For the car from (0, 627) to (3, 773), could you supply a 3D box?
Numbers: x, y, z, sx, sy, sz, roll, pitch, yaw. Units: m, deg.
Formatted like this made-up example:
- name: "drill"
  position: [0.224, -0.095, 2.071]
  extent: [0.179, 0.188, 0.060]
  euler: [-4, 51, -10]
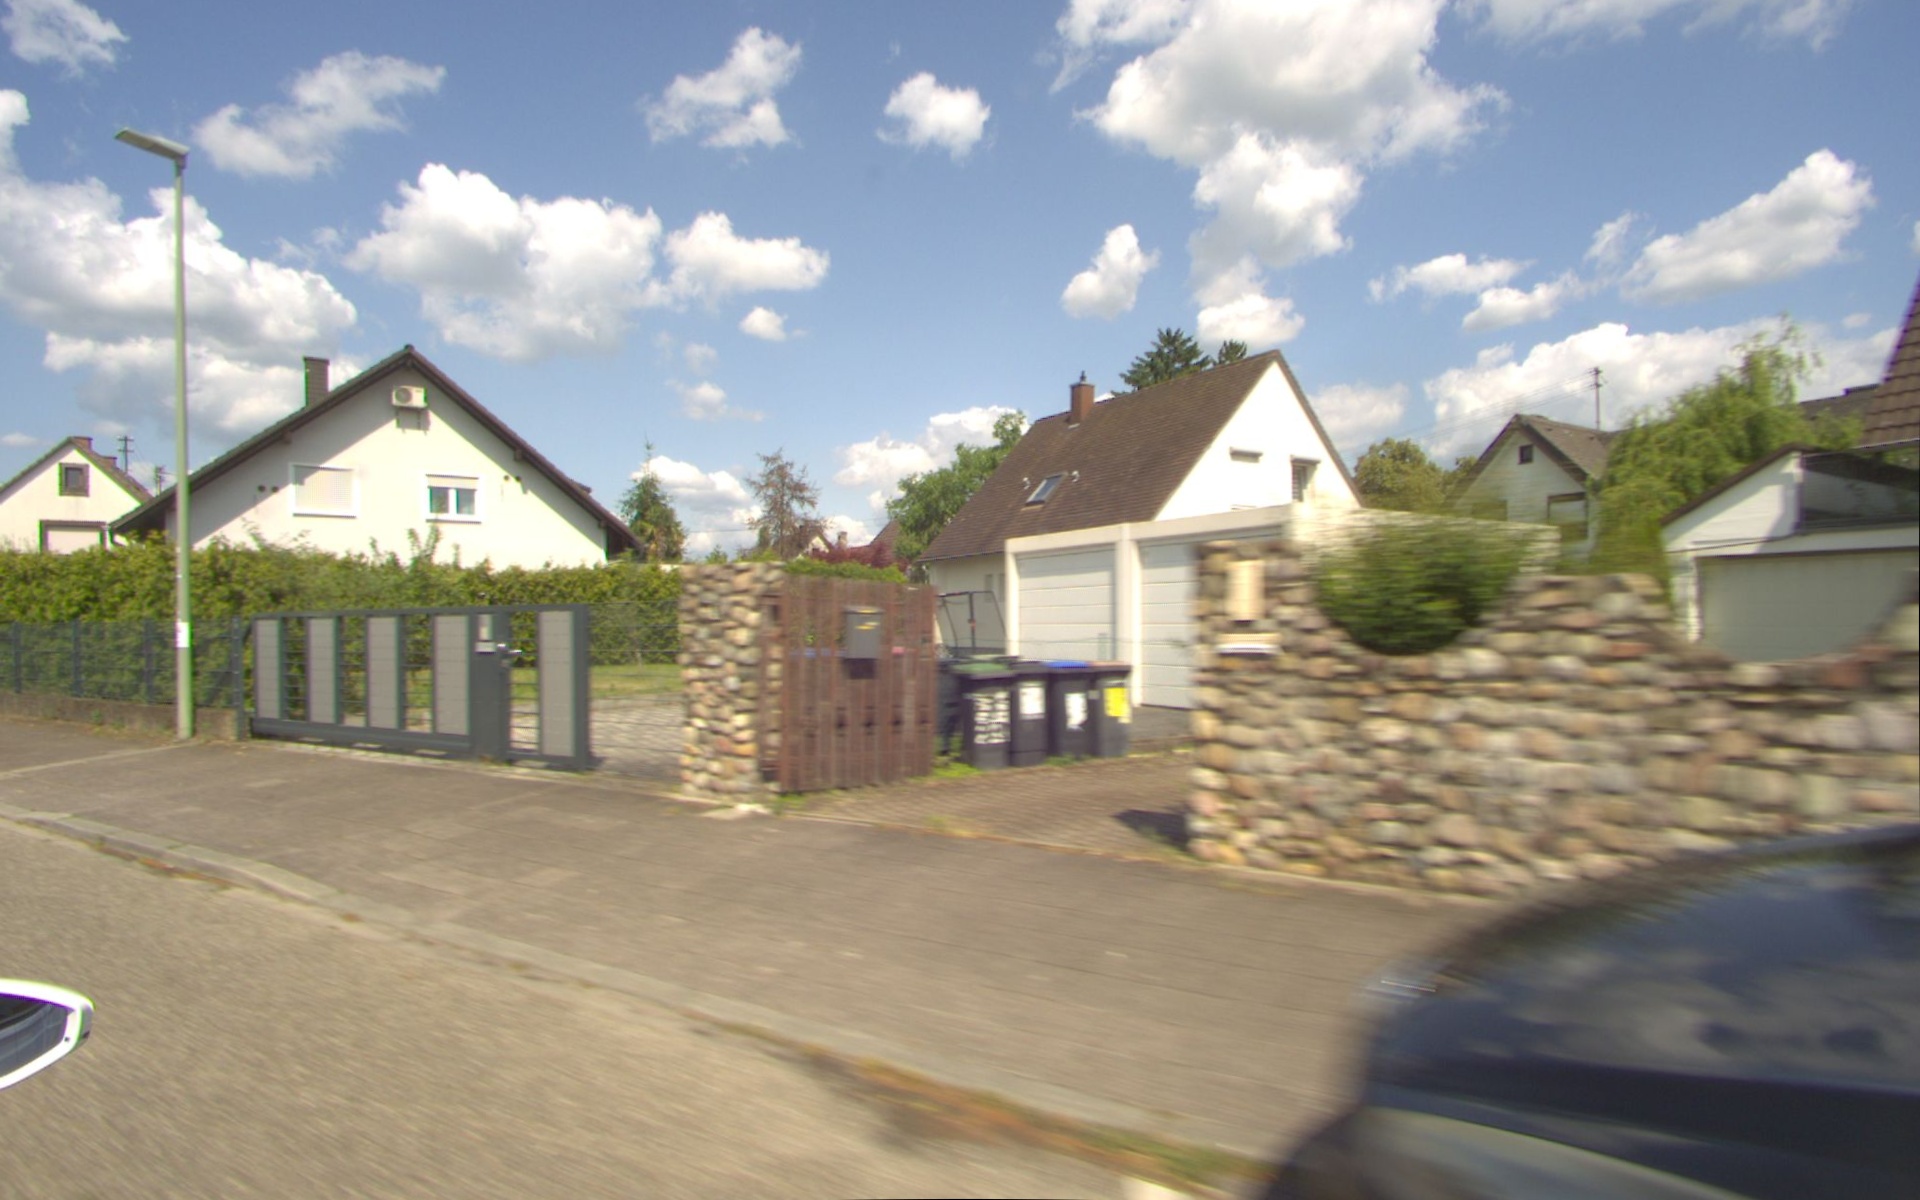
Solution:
- name: "car"
  position: [-12.207, 1.036, 10.680]
  extent: [4.685, 1.481, 1.689]
  euler: [-1, -2, 31]

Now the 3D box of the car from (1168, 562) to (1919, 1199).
- name: "car"
  position: [2.458, 0.733, 1.038]
  extent: [4.061, 1.571, 1.741]
  euler: [-1, 0, 31]

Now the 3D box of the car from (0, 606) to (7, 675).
- name: "car"
  position: [-28.841, 1.147, 27.886]
  extent: [4.942, 1.890, 1.856]
  euler: [-1, -1, 27]
